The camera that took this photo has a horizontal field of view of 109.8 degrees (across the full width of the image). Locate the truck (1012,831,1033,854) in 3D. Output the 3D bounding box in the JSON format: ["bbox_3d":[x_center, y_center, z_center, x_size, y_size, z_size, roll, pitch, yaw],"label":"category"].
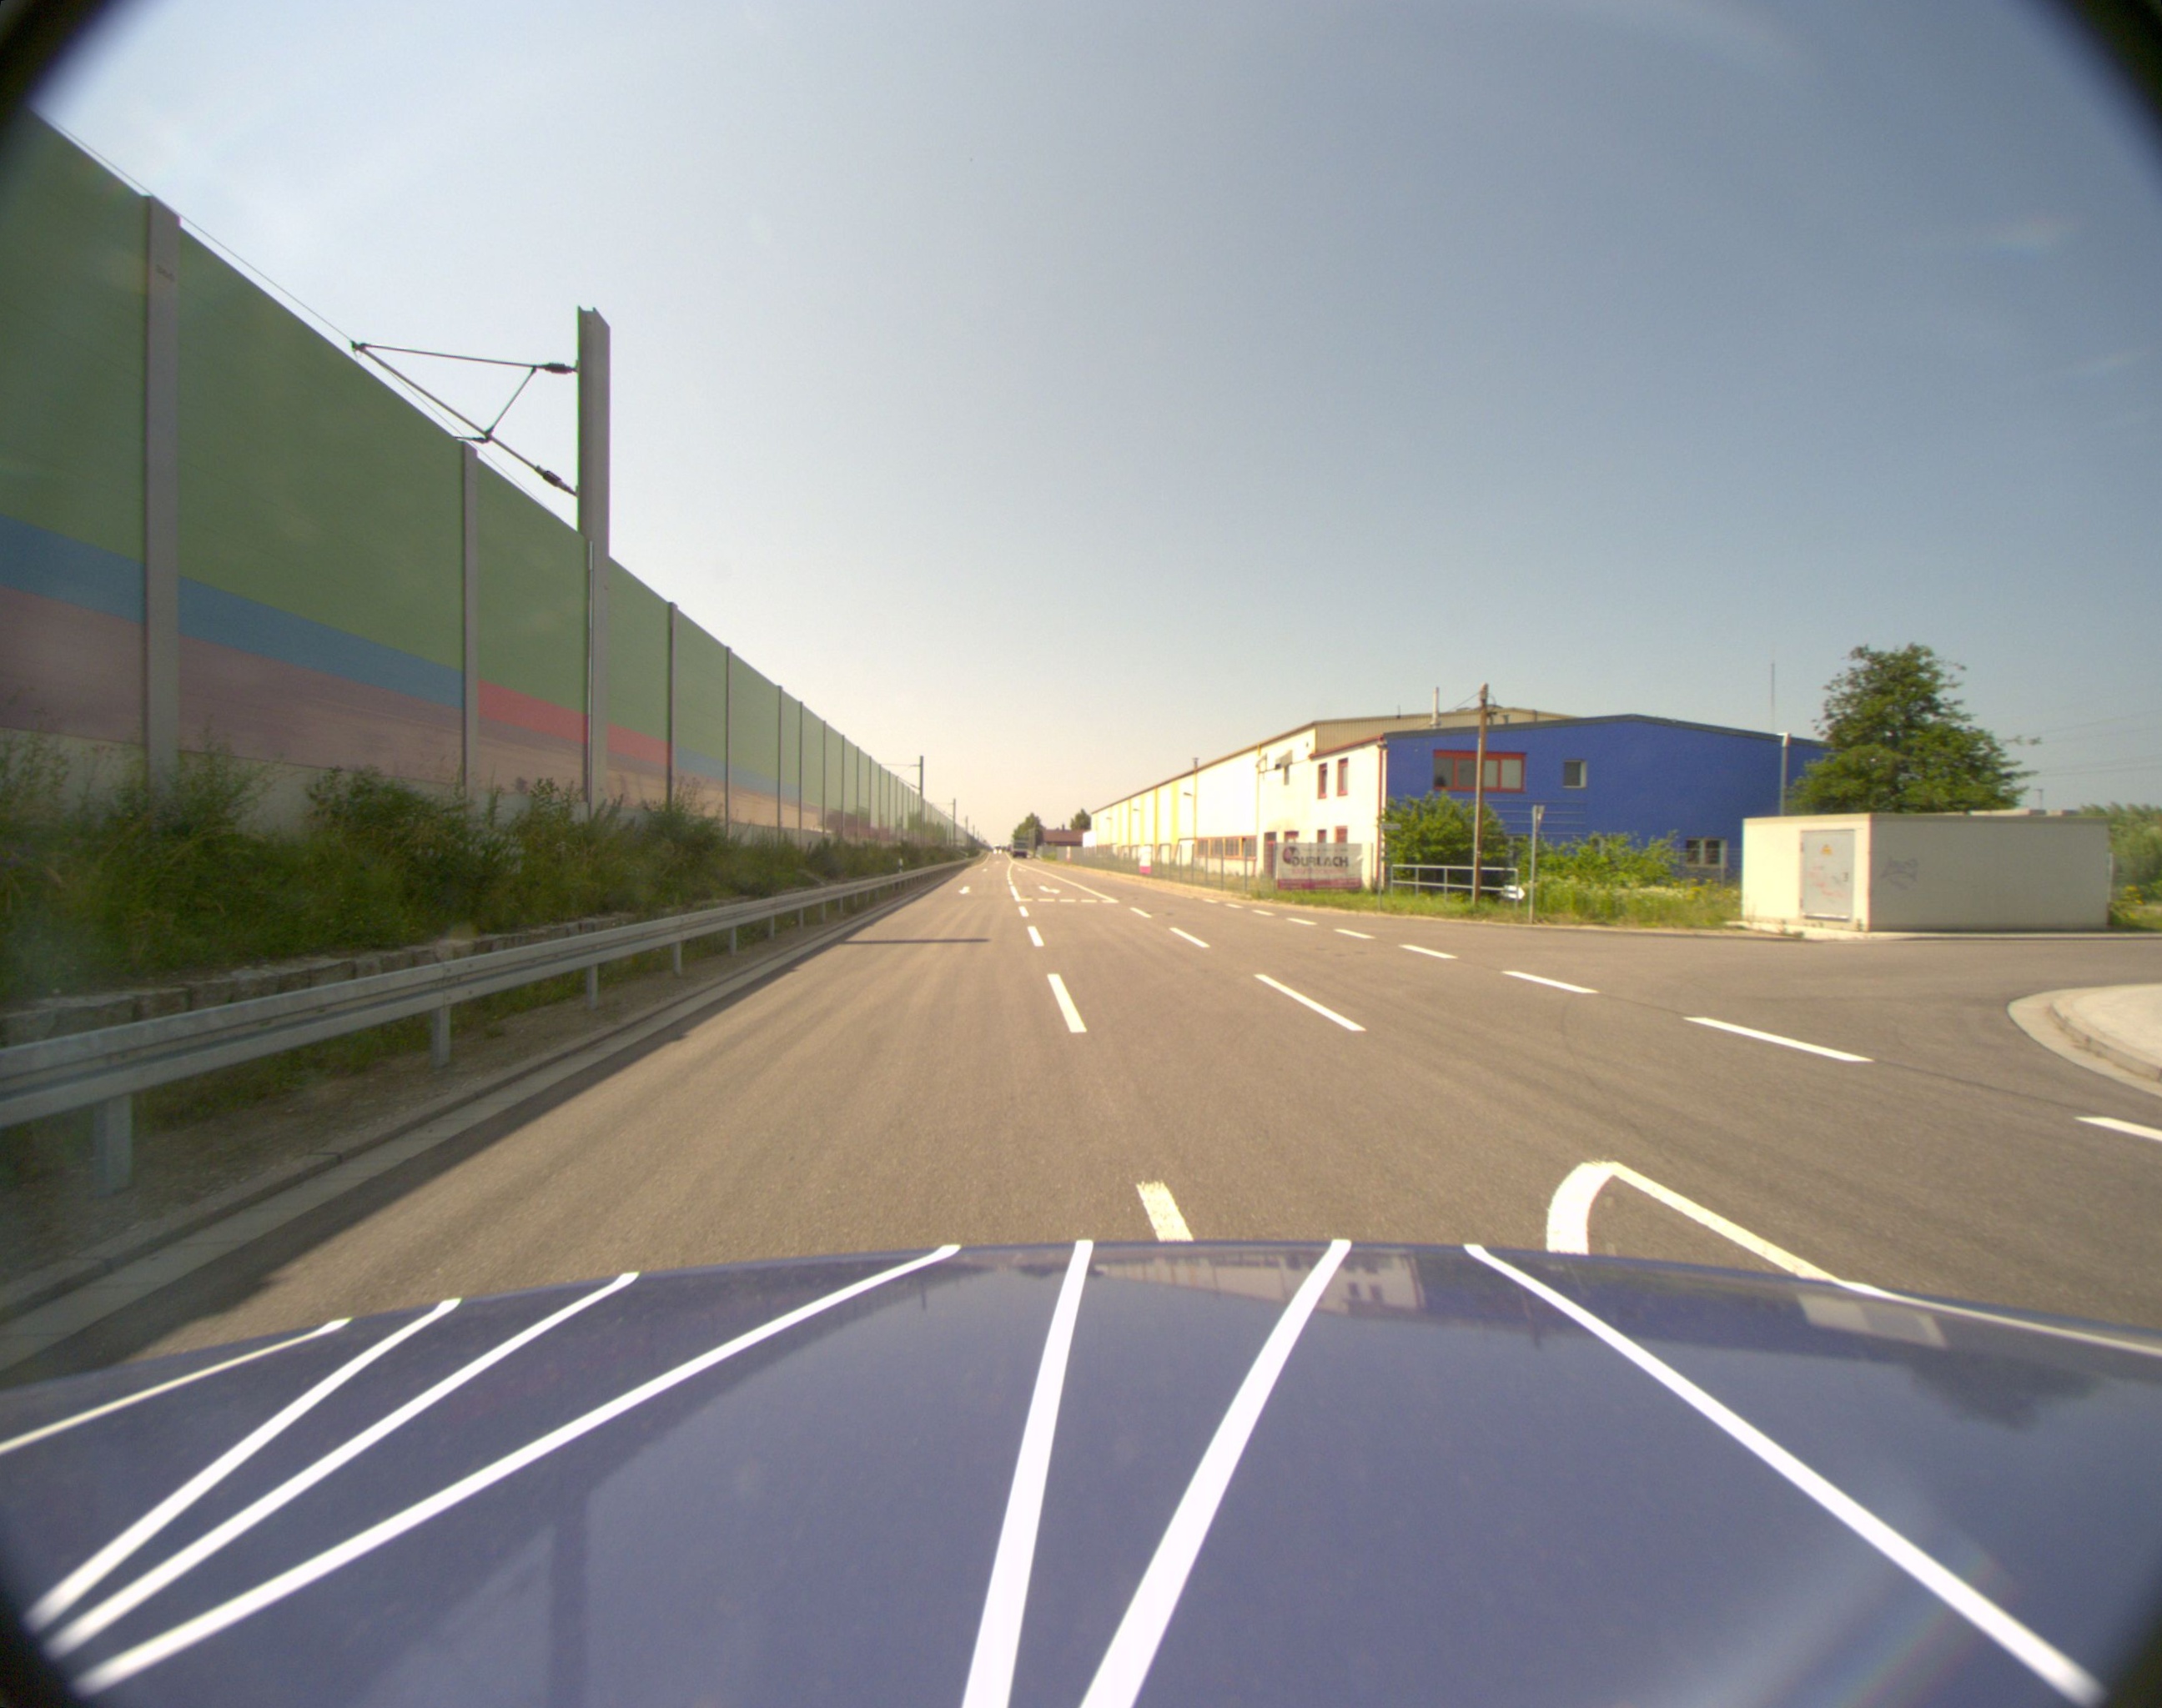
[{"bbox_3d":[-10.679,-2.002,137.605,3.565,3.855,11.409,1,0,-5],"label":"truck"}]

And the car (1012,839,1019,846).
[{"bbox_3d":[-20.066,-3.448,231.489,1.999,2.002,3.998,1,0,-5],"label":"car"}]
